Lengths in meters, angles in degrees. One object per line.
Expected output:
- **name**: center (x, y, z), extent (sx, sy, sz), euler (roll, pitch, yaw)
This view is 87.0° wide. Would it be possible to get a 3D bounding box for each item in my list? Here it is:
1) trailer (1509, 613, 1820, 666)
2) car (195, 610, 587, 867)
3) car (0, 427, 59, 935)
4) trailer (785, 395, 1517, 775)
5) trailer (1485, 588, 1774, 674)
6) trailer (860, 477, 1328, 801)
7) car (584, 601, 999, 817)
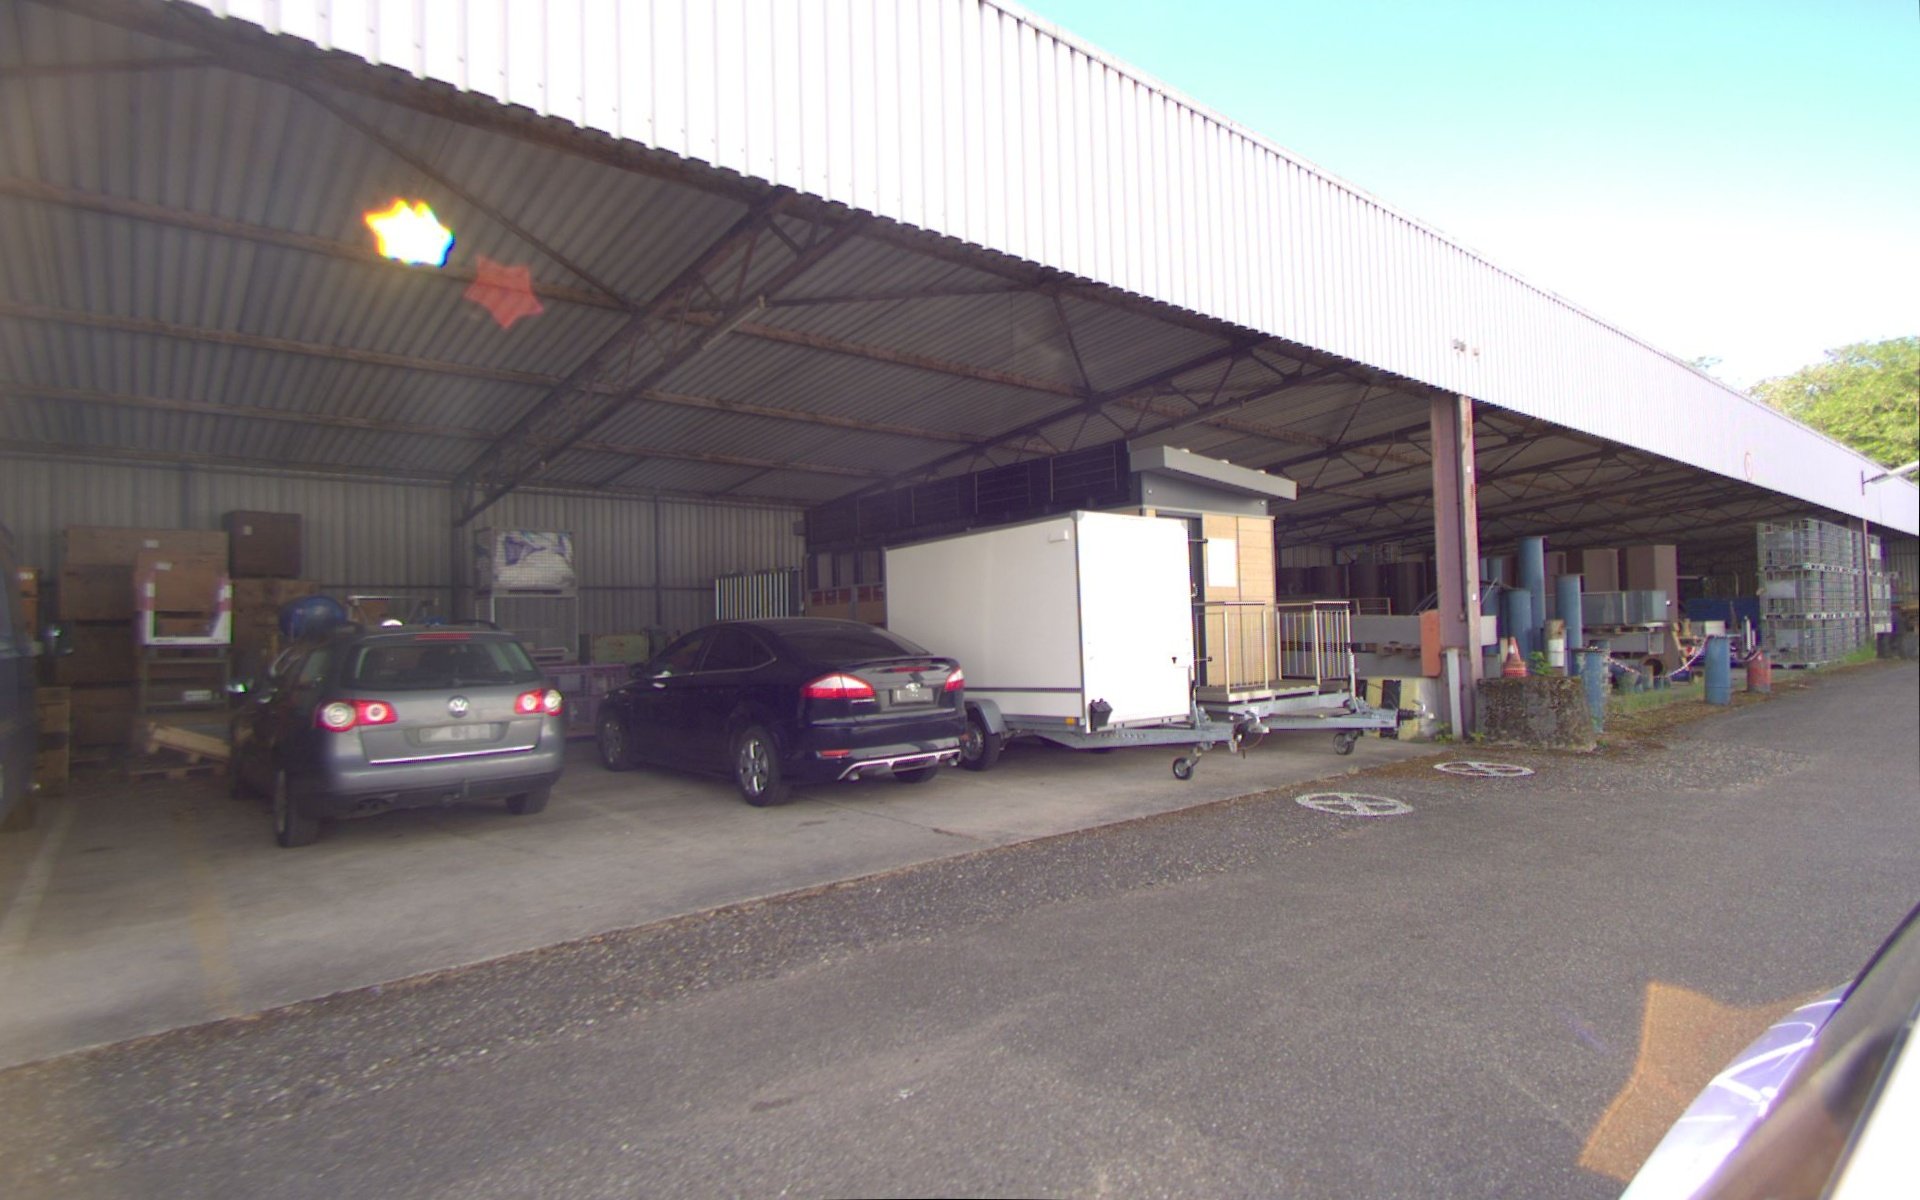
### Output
- **trailer**: center (16.724, 0.919, 24.375), extent (1.993, 1.134, 5.831), euler (0, -2, -40)
- **car**: center (-4.651, 0.869, 7.988), extent (1.759, 1.491, 3.988), euler (0, -2, -44)
- **car**: center (-6.359, 0.446, 5.486), extent (1.964, 2.355, 4.988), euler (0, -2, -39)
- **trailer**: center (1.444, -0.017, 13.442), extent (2.803, 3.257, 10.055), euler (0, -2, -40)
- **trailer**: center (14.399, 0.649, 22.029), extent (1.994, 1.650, 4.874), euler (0, -1, -41)
- **trailer**: center (0.986, 0.344, 10.062), extent (1.792, 2.422, 4.827), euler (0, -2, -35)
- **car**: center (-1.776, 0.827, 9.376), extent (1.747, 1.515, 4.334), euler (0, -2, -42)
